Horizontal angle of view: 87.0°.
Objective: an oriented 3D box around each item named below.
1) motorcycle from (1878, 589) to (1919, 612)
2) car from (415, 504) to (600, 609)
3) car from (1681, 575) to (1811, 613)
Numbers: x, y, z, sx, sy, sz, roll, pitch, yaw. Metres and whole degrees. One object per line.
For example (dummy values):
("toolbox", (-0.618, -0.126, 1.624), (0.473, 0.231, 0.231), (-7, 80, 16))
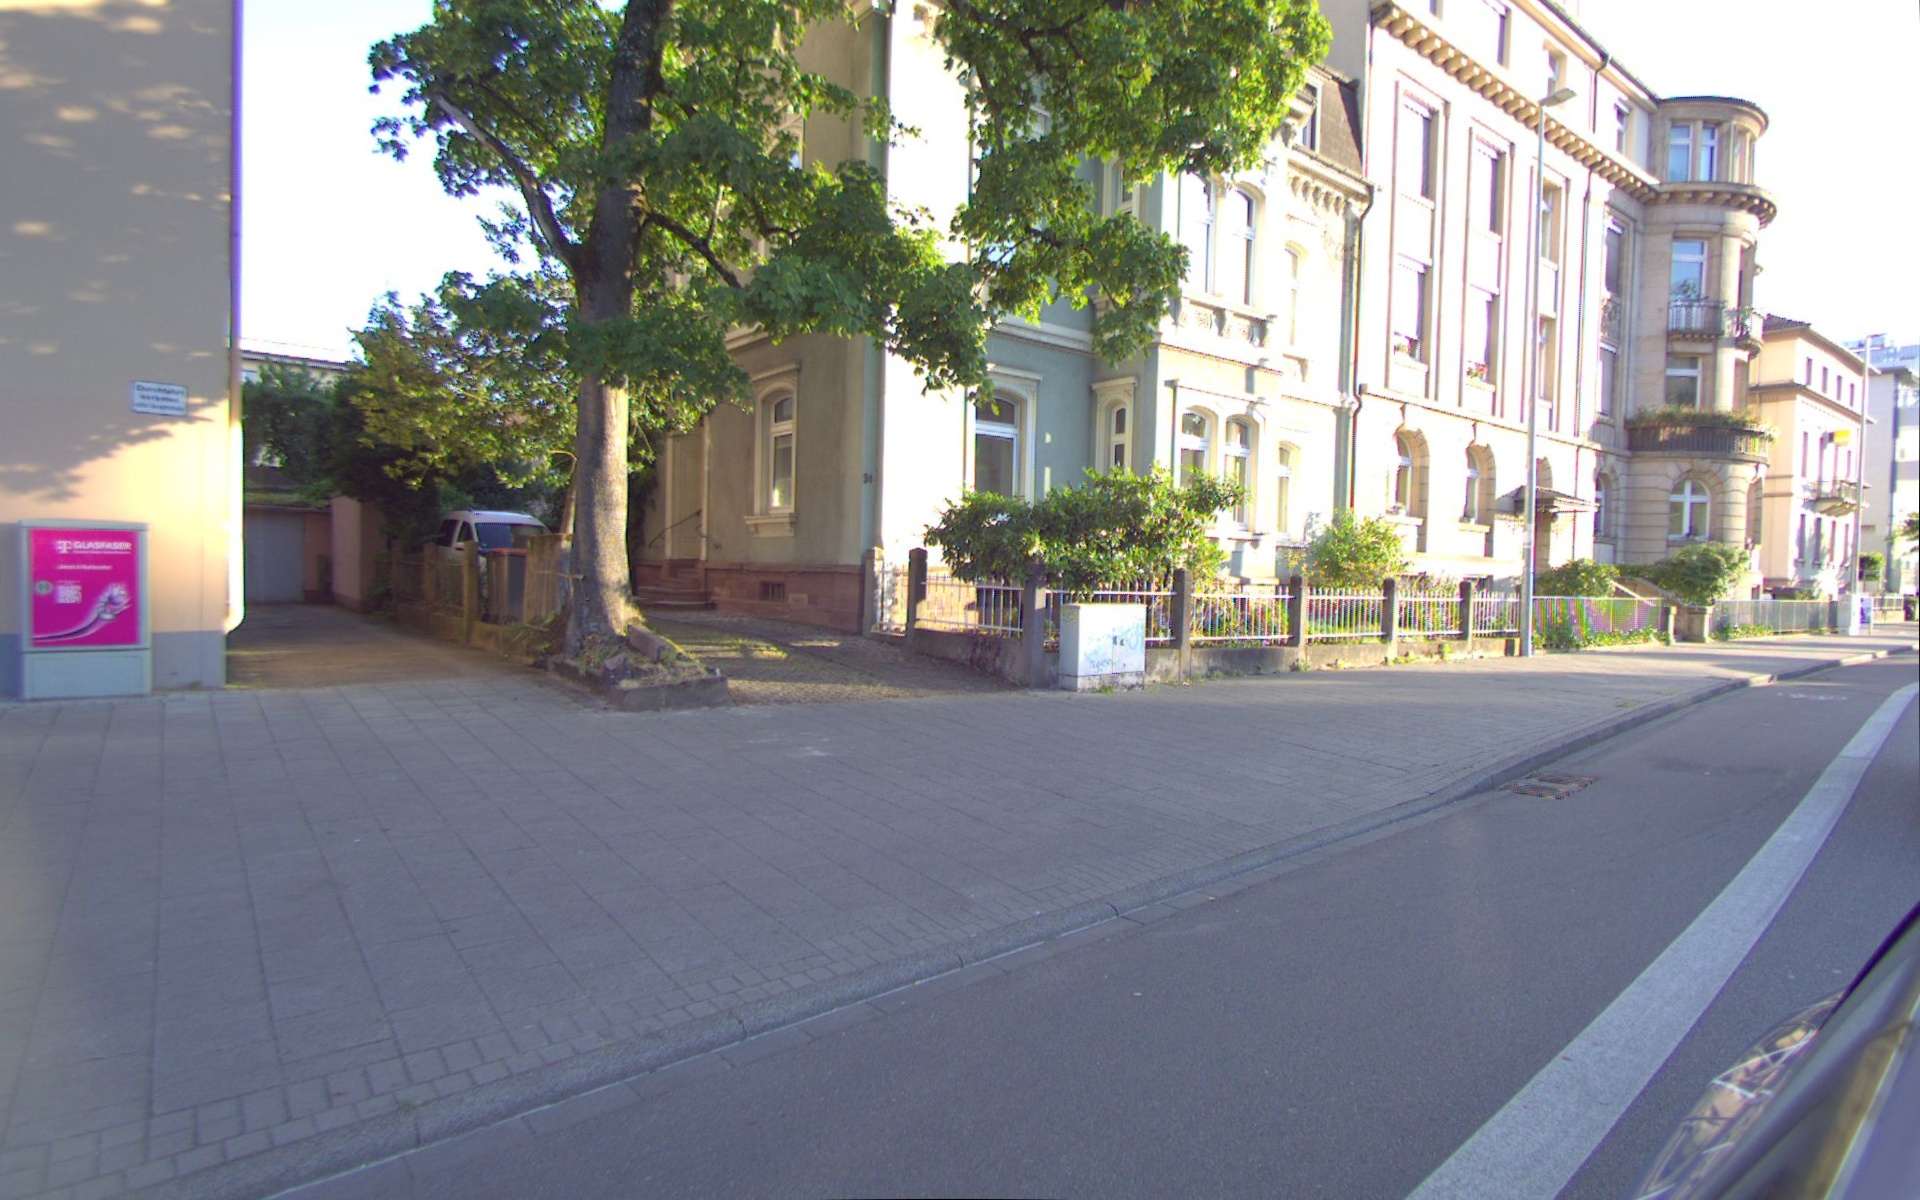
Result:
("motorcycle", (48.362, 0.029, 51.841), (0.564, 1.110, 1.852), (0, 1, -33))
("car", (-8.787, -0.887, 19.429), (1.795, 1.778, 4.513), (1, 3, -44))
("car", (34.057, -0.293, 43.922), (1.903, 1.499, 4.098), (0, 2, -38))
